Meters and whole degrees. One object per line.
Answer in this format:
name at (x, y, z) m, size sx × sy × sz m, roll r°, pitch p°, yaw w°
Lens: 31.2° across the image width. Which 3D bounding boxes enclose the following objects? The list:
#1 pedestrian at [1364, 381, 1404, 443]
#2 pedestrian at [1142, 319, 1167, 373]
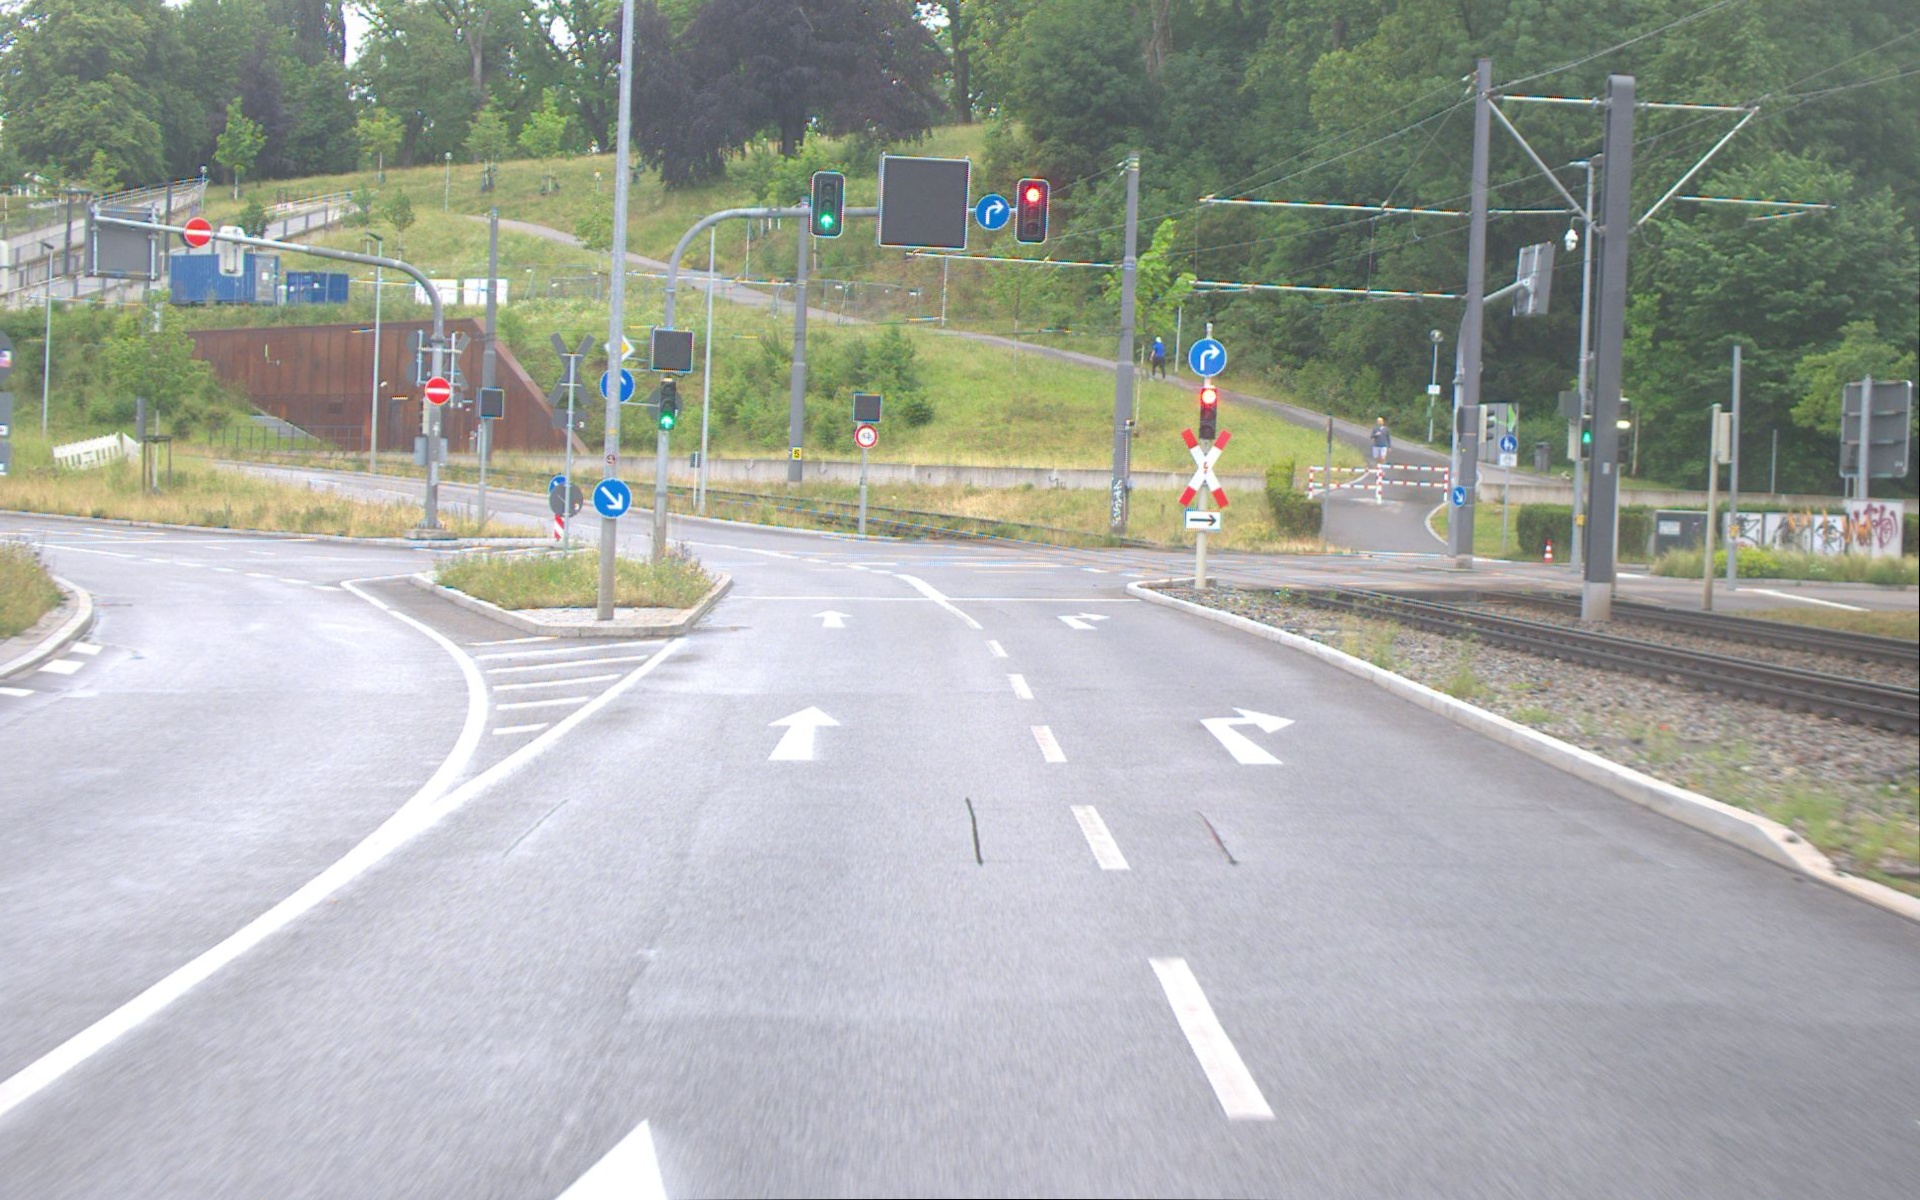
pedestrian at (12.773, -5.655, 103.514) m, size 0.958 × 1.775 × 1.122 m, roll 5°, pitch 3°, yaw 11°
pedestrian at (7.439, -9.721, 131.483) m, size 0.788 × 2.006 × 0.657 m, roll -2°, pitch 8°, yaw -16°
